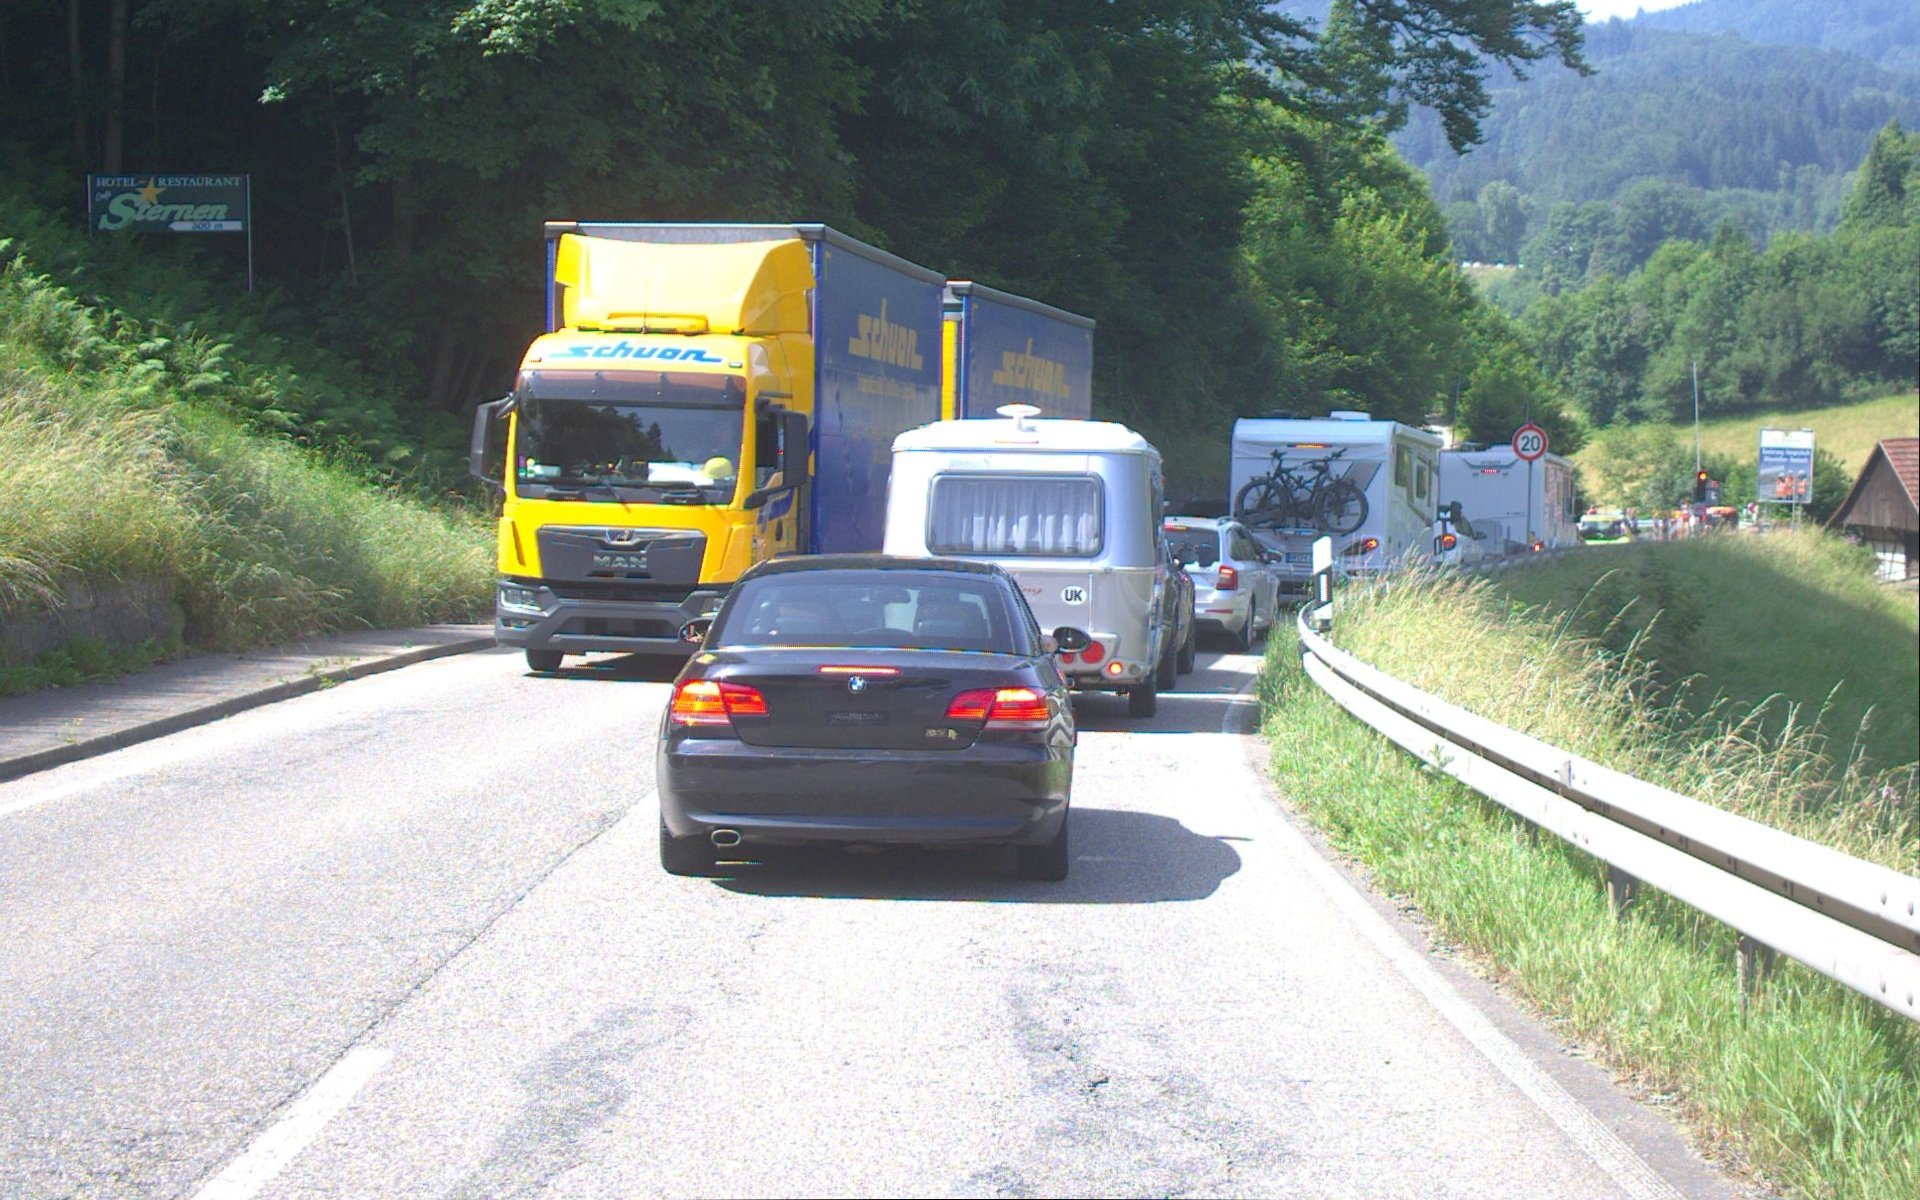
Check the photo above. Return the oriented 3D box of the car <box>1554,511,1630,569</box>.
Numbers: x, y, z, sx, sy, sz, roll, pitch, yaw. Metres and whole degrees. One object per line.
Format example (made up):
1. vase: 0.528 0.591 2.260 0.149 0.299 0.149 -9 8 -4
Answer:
1. car: 17.453 -1.636 94.855 1.907 1.481 3.998 2 1 12

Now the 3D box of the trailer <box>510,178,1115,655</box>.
1. trailer: -1.089 -1.995 39.833 3.261 4.402 15.309 2 2 12

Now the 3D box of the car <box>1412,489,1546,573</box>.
1. car: 10.004 -1.347 66.063 1.789 1.459 3.997 4 3 19

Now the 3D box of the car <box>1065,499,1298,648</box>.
1. car: 2.551 -0.336 38.663 1.995 1.479 3.998 3 2 12

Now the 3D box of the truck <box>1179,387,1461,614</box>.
1. truck: 5.448 -1.494 50.927 2.793 2.987 6.863 4 3 16

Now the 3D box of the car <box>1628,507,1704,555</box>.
1. car: 24.952 -2.437 121.466 1.996 1.570 3.996 2 1 20

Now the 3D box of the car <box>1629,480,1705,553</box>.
1. car: 21.432 -2.513 104.142 1.995 1.919 3.997 6 1 13

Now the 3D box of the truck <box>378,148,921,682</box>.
1. truck: -2.680 -1.699 32.109 3.190 4.381 6.569 3 3 11

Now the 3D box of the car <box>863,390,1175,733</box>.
1. car: 0.561 -0.386 26.476 1.994 2.344 4.914 2 3 5

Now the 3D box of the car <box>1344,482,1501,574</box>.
1. car: 8.183 -1.295 60.559 1.995 1.459 3.997 4 3 17

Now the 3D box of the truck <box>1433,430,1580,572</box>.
1. truck: 11.616 -2.037 72.687 2.239 2.794 6.227 2 1 16

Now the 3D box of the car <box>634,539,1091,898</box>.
1. car: -0.393 0.435 15.452 1.771 1.331 3.767 1 2 0
